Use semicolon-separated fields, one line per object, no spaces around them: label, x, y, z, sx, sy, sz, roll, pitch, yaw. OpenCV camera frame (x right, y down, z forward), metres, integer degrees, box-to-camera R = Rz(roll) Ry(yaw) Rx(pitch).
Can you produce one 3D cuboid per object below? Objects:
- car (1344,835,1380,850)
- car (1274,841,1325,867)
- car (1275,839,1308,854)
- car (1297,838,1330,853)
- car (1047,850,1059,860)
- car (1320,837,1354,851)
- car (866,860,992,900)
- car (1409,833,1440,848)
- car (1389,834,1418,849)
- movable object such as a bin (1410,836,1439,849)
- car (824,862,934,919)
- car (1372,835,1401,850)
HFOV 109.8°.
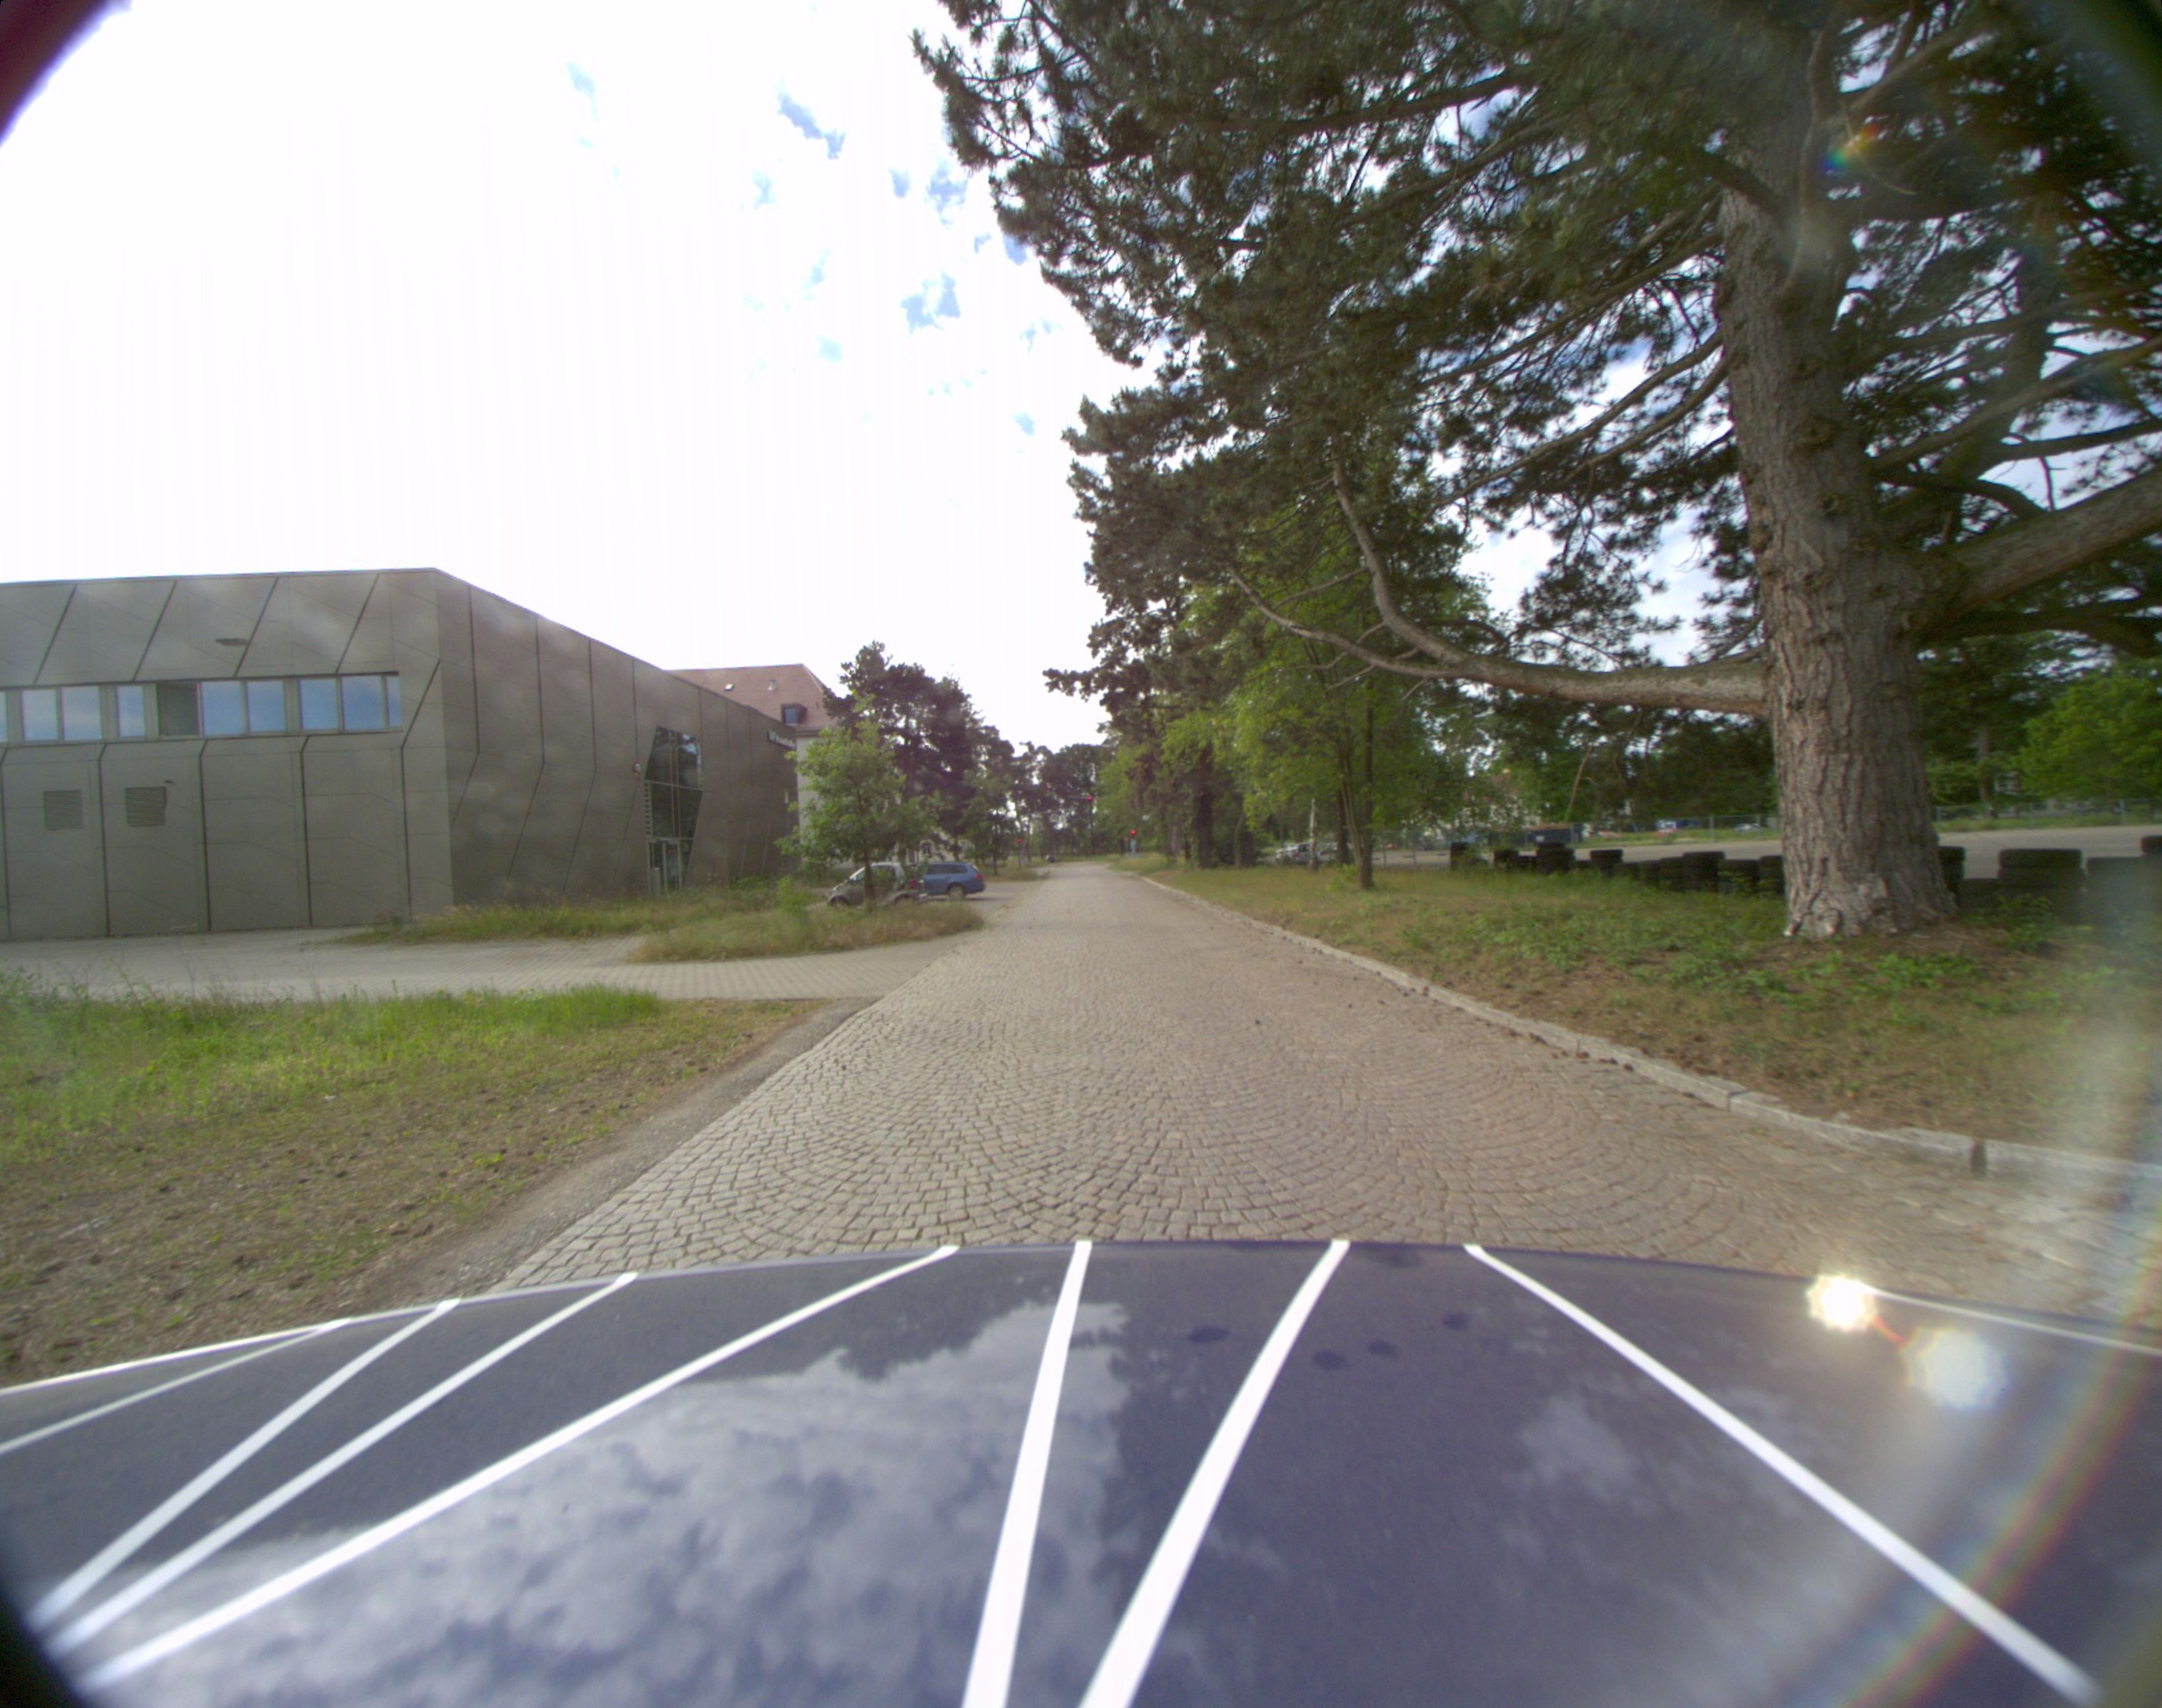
car;30.459;-1.220;82.535;1.999;1.441;4.451;-3;1;-3
car;12.540;-0.017;43.804;1.670;1.402;3.722;-3;1;-3
car;22.501;-0.786;81.401;1.999;1.441;4.451;-3;1;-3
car;25.003;-0.925;81.889;1.999;1.441;4.451;-3;1;-3
car;-5.370;0.210;144.984;1.999;1.777;3.997;-3;1;-6
car;27.583;-1.061;81.997;1.999;1.441;4.451;-3;1;-3
car;-5.801;0.985;29.488;4.537;1.441;1.931;0;0;-2
car;41.972;-1.645;93.019;1.749;1.674;3.802;-3;1;-5
car;39.267;-1.500;92.708;1.611;1.674;3.802;-3;1;-5
movable object such as a bin;31.523;-1.049;69.737;1.057;1.065;2.719;-3;1;-9
car;-5.811;1.029;22.080;2.748;1.573;1.682;0;1;0
car;37.265;-1.393;92.709;1.611;1.674;3.802;-3;1;-5
